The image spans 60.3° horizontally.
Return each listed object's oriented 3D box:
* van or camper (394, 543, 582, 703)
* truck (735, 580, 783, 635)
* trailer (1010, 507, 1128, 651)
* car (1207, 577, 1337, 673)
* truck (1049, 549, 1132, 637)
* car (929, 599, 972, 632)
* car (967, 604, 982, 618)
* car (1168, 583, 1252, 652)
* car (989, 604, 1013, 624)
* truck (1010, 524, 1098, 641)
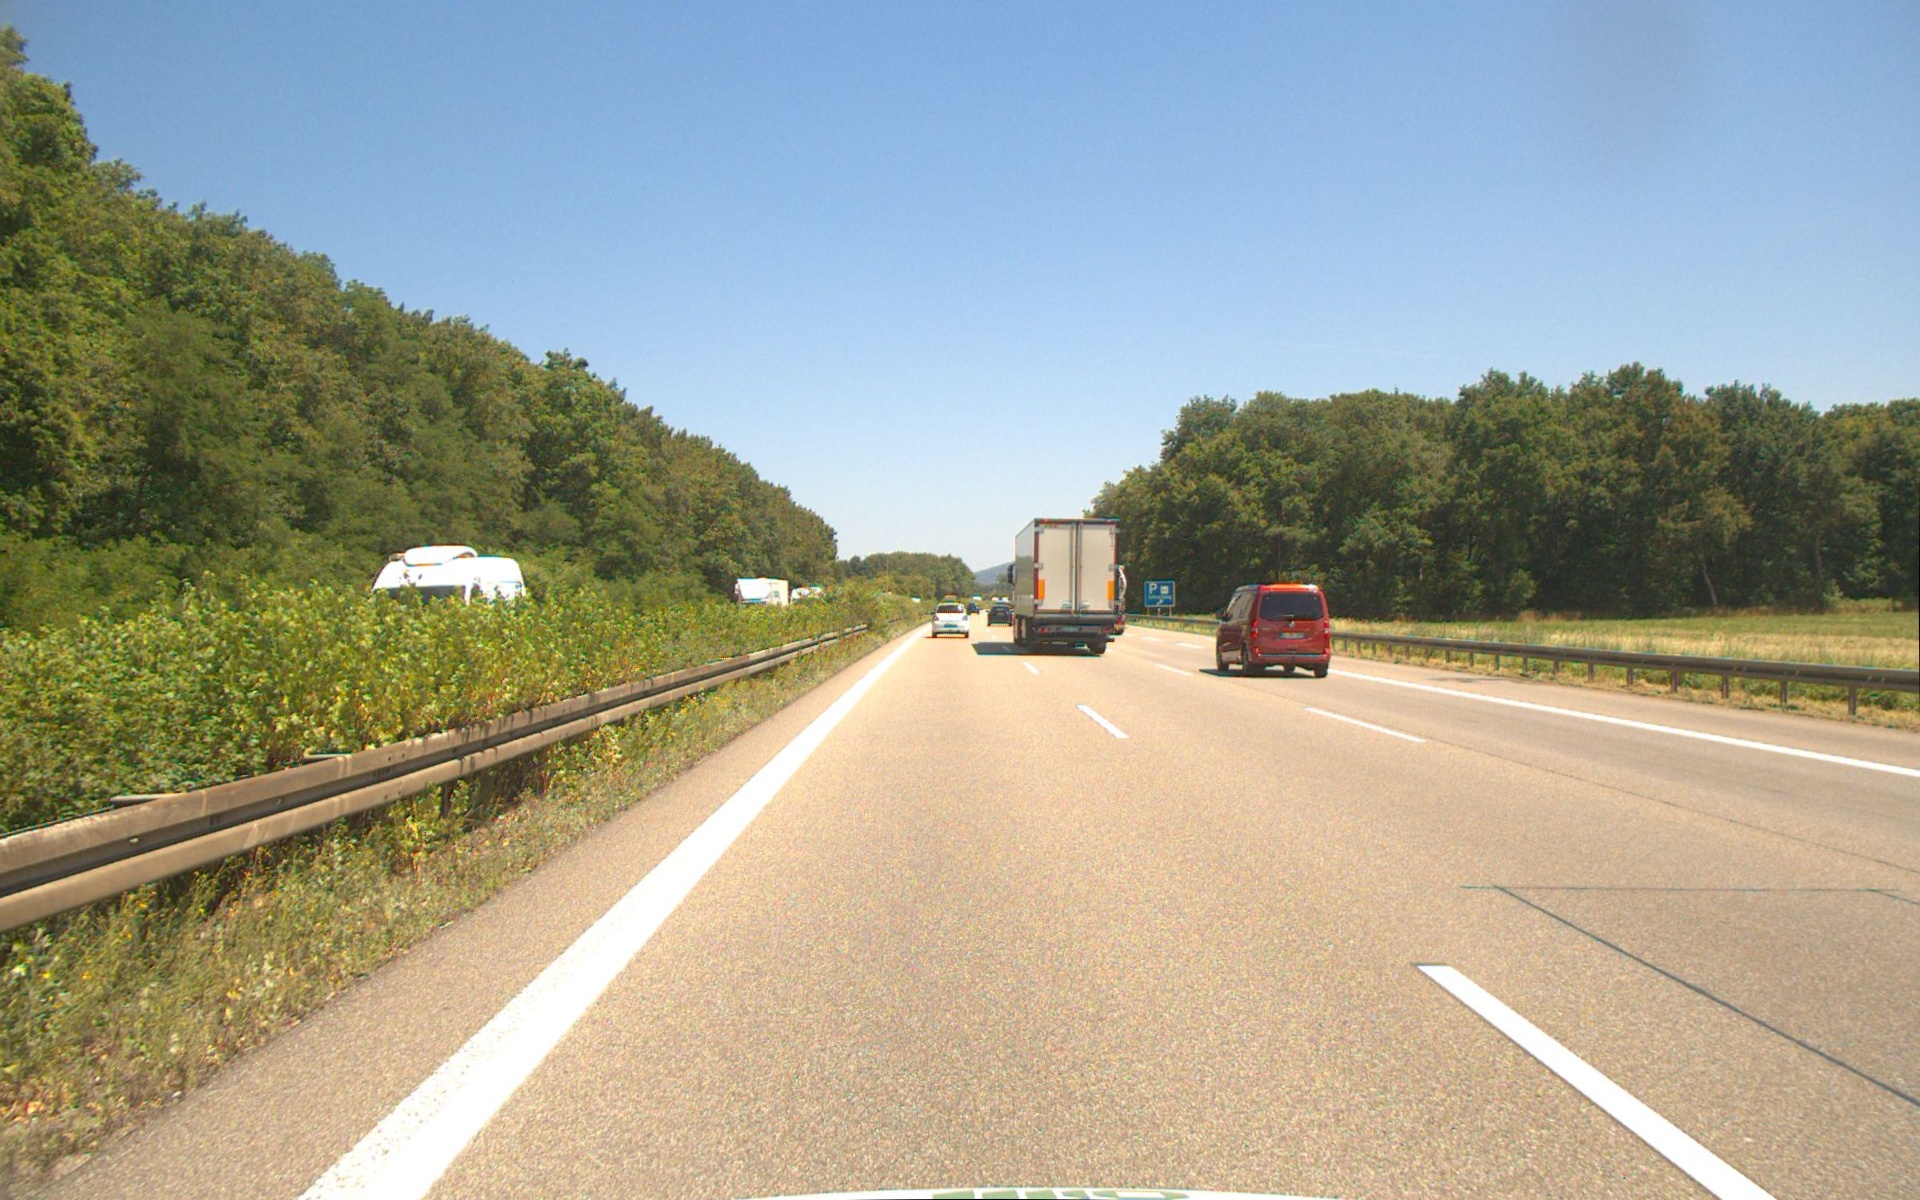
[{"bbox_3d":[-9.404,0.416,33.665,1.953,2.896,6.998,0,0,-1],"label":"van or camper"},{"bbox_3d":[-13.146,0.455,108.659,2.361,3.412,6.998,-2,0,-1],"label":"truck"},{"bbox_3d":[3.393,-0.620,54.740,3.157,4.216,12.351,0,0,0],"label":"trailer"},{"bbox_3d":[7.075,0.541,38.074,1.818,2.038,5.520,1,0,-1],"label":"car"},{"bbox_3d":[6.923,-0.369,89.303,3.159,4.421,10.801,0,0,-2],"label":"truck"},{"bbox_3d":[-0.449,0.694,73.851,1.775,1.429,3.315,0,0,-3],"label":"car"},{"bbox_3d":[2.033,1.551,234.351,2.064,2.049,3.999,1,0,-1],"label":"car"},{"bbox_3d":[7.669,0.525,51.129,1.953,2.049,3.999,0,0,-1],"label":"car"},{"bbox_3d":[2.849,0.967,115.347,1.633,1.312,4.001,0,0,2],"label":"car"},{"bbox_3d":[3.506,-0.637,62.753,3.162,4.230,4.560,0,0,1],"label":"truck"}]
